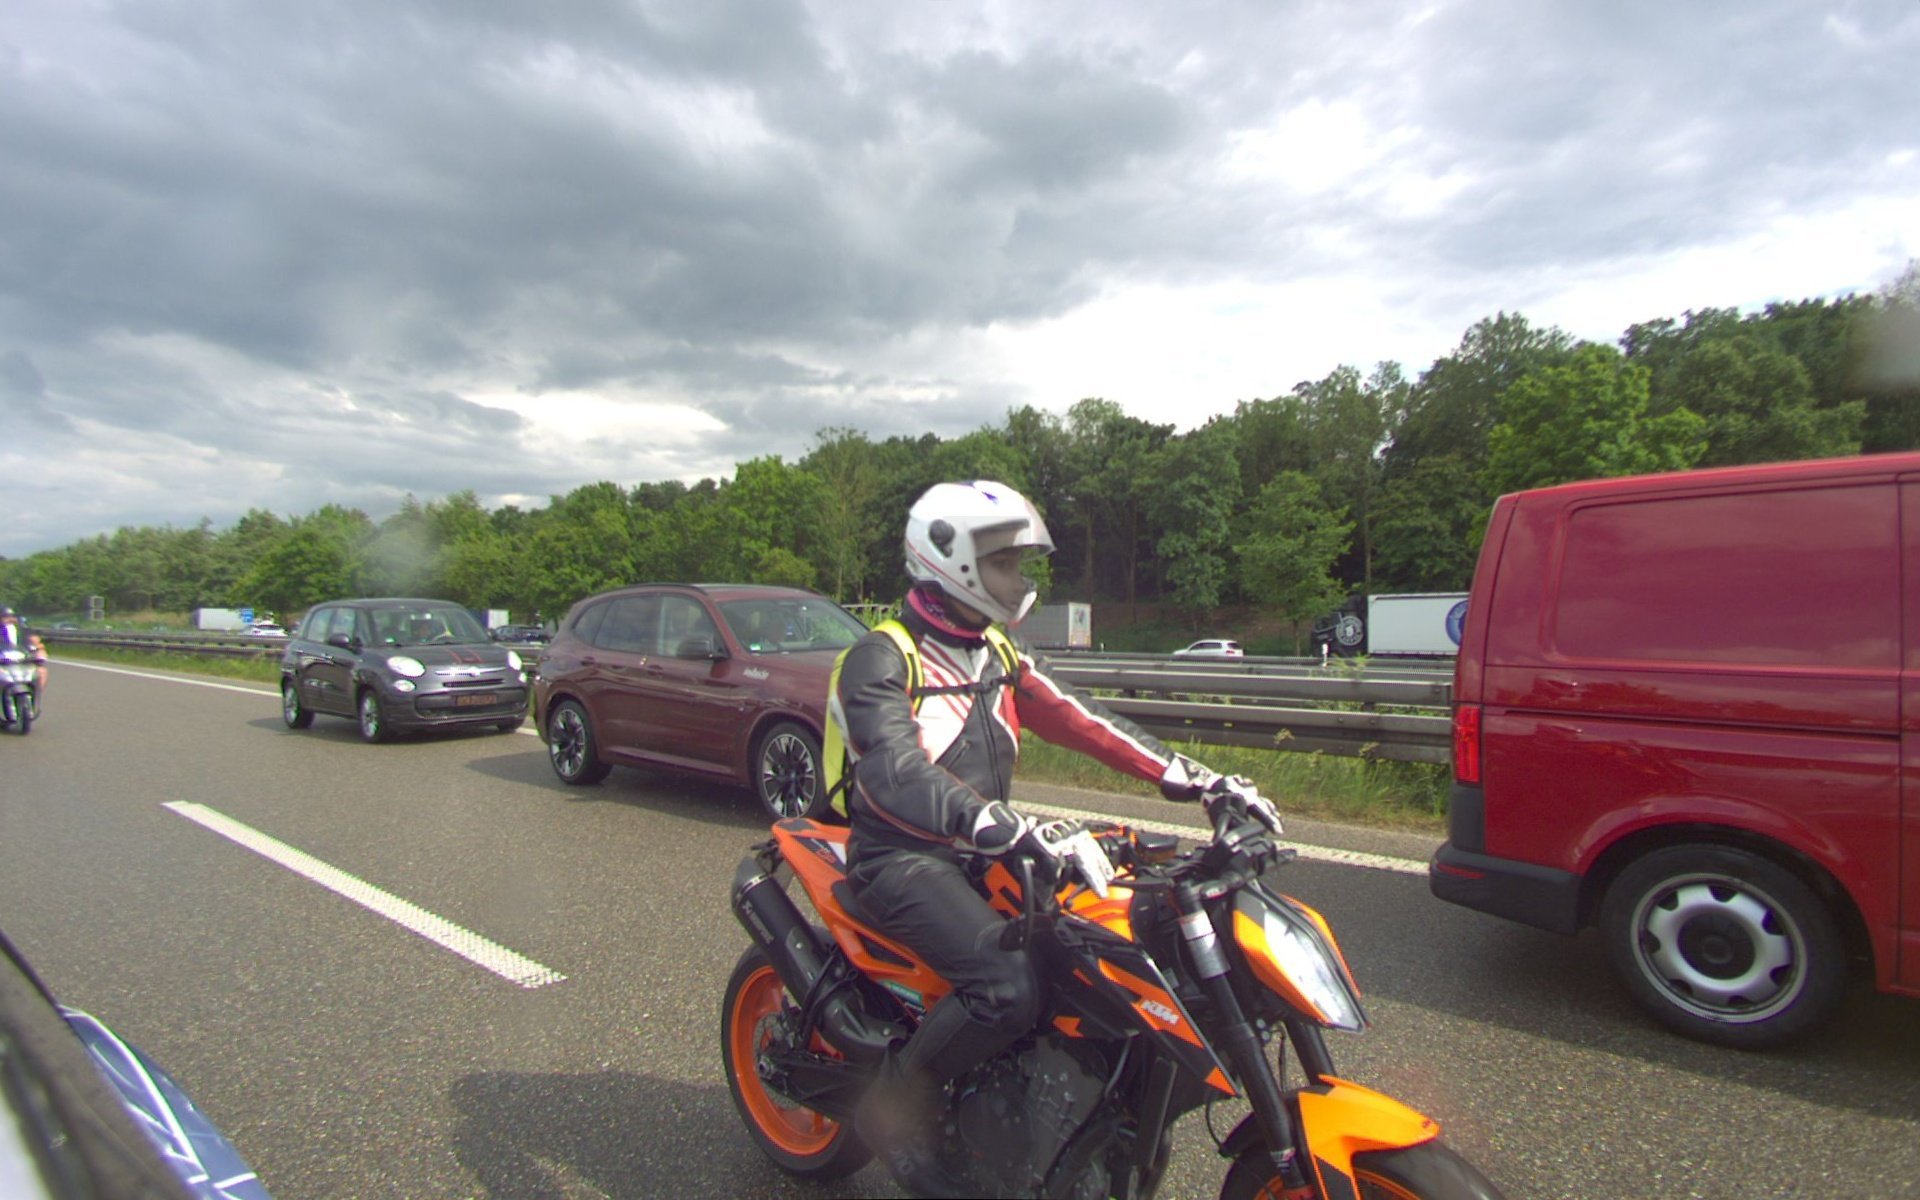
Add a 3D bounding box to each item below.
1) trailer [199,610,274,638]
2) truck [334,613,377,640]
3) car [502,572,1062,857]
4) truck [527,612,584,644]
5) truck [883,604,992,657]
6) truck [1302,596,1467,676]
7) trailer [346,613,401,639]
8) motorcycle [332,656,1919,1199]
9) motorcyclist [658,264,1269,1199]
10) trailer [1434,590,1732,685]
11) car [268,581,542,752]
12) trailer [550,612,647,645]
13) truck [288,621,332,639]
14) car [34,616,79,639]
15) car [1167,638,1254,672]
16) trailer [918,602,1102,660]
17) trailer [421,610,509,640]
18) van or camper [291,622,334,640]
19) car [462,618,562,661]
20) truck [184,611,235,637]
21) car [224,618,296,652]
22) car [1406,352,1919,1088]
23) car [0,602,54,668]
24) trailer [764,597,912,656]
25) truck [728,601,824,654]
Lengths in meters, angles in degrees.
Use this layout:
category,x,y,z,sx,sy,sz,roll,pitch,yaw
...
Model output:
category,x,y,z,sx,sy,sz,roll,pitch,yaw
trailer,-102.182,3.379,142.840,12.504,3.767,3.186,-1,-2,27
truck,-77.656,3.359,130.059,5.066,3.292,2.636,-1,0,30
car,-1.624,0.691,8.089,4.612,1.649,1.890,-1,-1,40
truck,-43.279,2.961,108.342,5.497,3.298,3.322,-1,0,37
truck,-1.700,2.155,74.036,7.351,3.616,3.749,-1,0,41
truck,21.203,1.701,50.746,3.744,3.688,6.710,-1,0,-44
trailer,-74.347,3.308,128.198,7.712,3.257,2.561,-1,-1,31
motorcycle,-0.018,0.807,2.147,3.189,1.235,1.174,-1,0,37
motorcyclist,0.018,0.345,2.207,0.999,1.719,0.873,-1,0,38
trailer,27.012,1.586,44.514,3.743,3.677,10.510,1,-2,-42
car,-7.070,0.721,12.739,3.972,1.818,1.675,-1,0,40
trailer,-37.107,2.897,103.495,12.457,3.241,3.315,-1,-2,38
truck,-87.174,3.980,135.683,6.287,2.282,2.105,-1,-1,27
car,-73.424,2.195,82.187,5.205,1.789,2.031,-1,0,40
car,14.349,3.112,58.090,4.368,1.731,2.036,-1,0,43
trailer,3.161,2.082,69.725,13.339,3.677,3.749,-1,-2,41
trailer,-57.650,2.912,117.732,13.387,3.431,2.800,-1,-2,33
van or camper,-86.887,4.148,135.785,6.292,2.282,2.105,-1,-1,27
car,-20.024,1.708,45.149,5.205,1.789,2.031,-1,0,40
truck,-108.062,3.432,145.735,6.879,3.732,3.190,-1,0,26
car,-39.302,1.933,56.775,5.205,1.789,2.031,-1,0,40
car,4.086,0.321,2.926,4.754,2.070,1.958,-1,0,41
car,-32.109,1.118,33.599,5.139,2.060,2.320,-1,0,40
trailer,-10.134,2.162,82.247,13.795,4.439,3.749,-1,-2,41
truck,-15.941,2.299,87.287,8.413,4.266,3.749,-1,0,41
